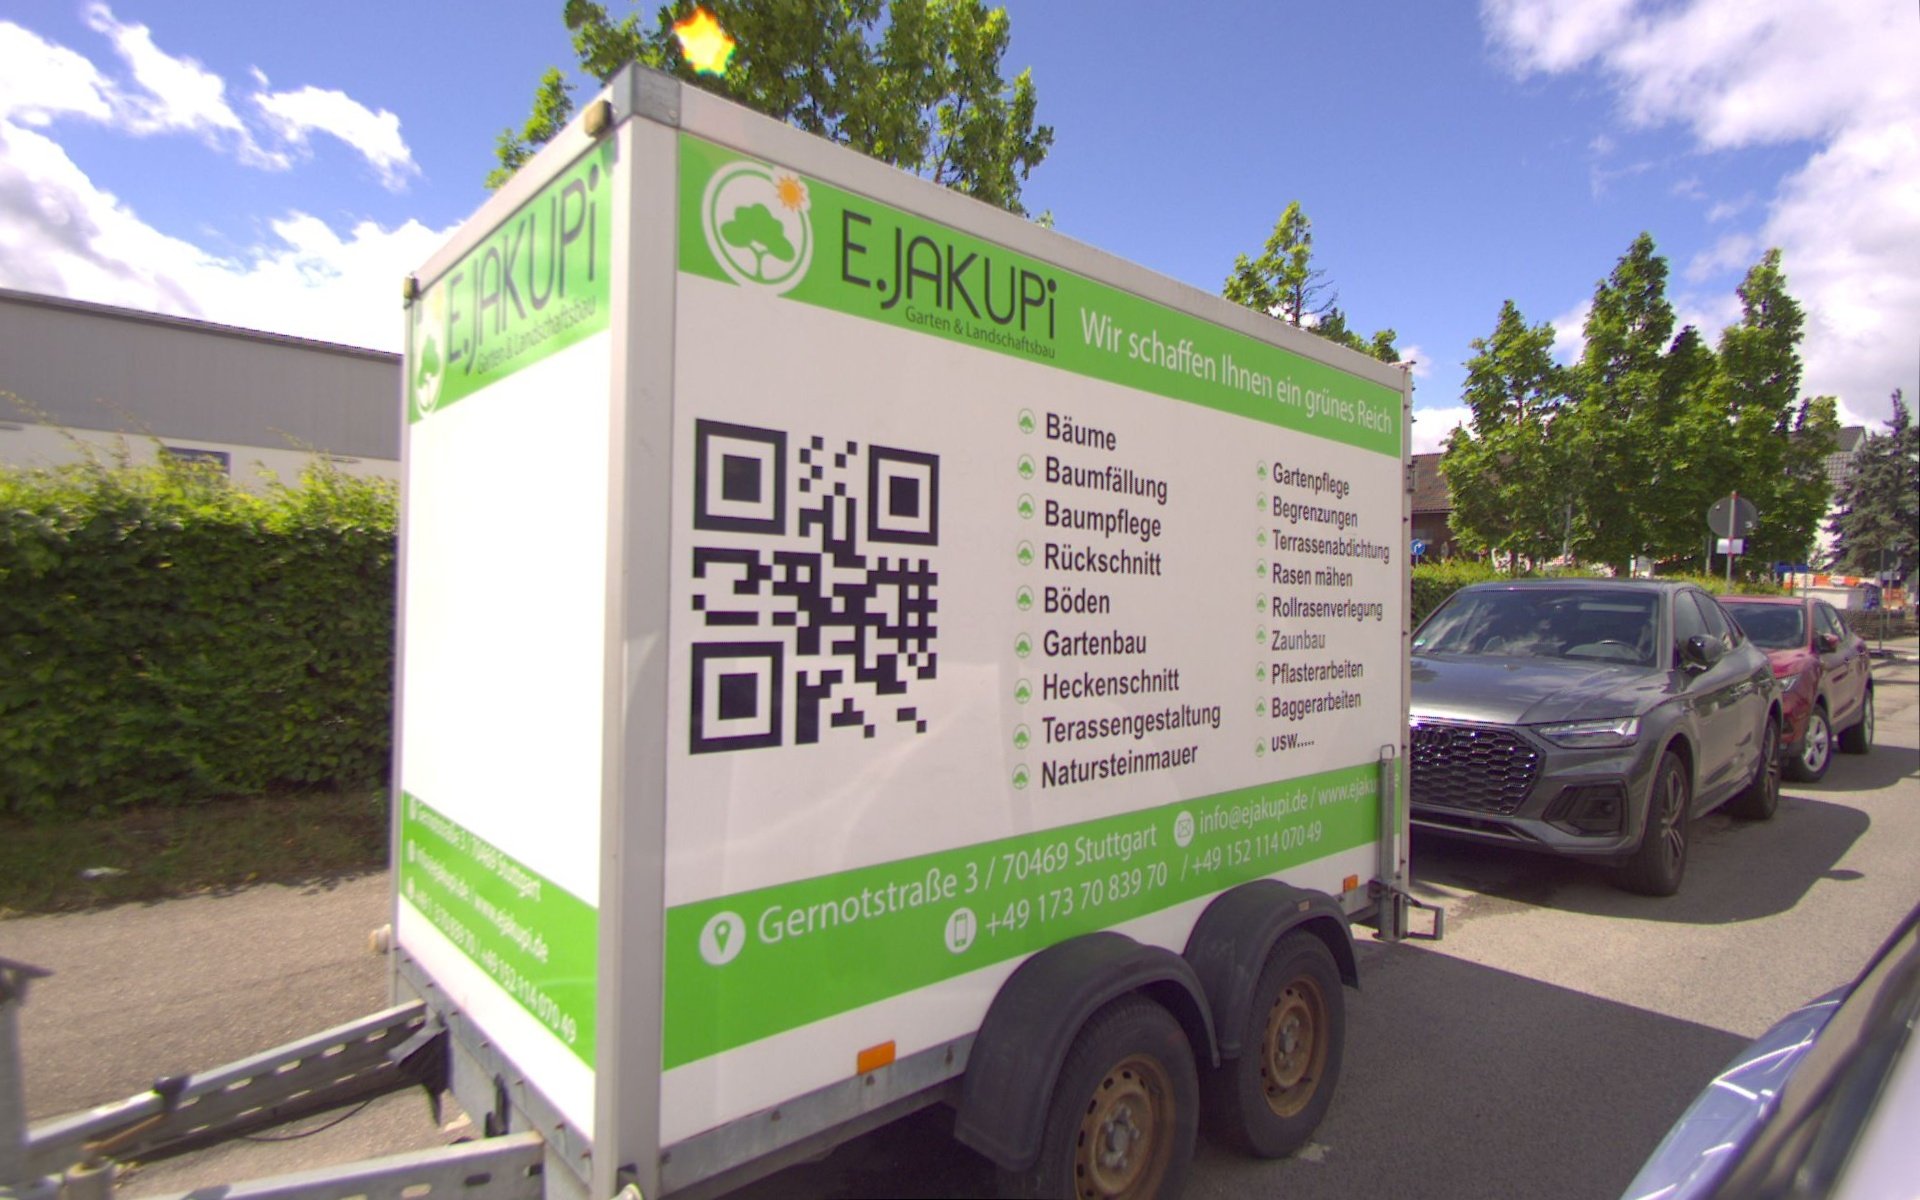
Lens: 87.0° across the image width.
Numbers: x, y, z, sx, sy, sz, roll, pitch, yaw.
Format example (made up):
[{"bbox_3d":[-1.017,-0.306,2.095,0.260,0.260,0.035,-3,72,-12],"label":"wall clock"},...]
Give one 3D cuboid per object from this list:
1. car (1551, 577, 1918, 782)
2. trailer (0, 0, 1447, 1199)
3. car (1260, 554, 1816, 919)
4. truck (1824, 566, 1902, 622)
[{"bbox_3d":[7.922,0.637,10.205,4.365,1.591,1.946,1,1,-39],"label":"car"},{"bbox_3d":[-0.531,0.198,2.906,4.369,2.323,1.944,0,2,-42],"label":"trailer"},{"bbox_3d":[4.005,0.579,6.639,4.370,1.591,1.944,1,2,-43],"label":"car"},{"bbox_3d":[38.962,-0.215,43.621,5.292,2.107,1.833,2,3,-42],"label":"truck"}]
